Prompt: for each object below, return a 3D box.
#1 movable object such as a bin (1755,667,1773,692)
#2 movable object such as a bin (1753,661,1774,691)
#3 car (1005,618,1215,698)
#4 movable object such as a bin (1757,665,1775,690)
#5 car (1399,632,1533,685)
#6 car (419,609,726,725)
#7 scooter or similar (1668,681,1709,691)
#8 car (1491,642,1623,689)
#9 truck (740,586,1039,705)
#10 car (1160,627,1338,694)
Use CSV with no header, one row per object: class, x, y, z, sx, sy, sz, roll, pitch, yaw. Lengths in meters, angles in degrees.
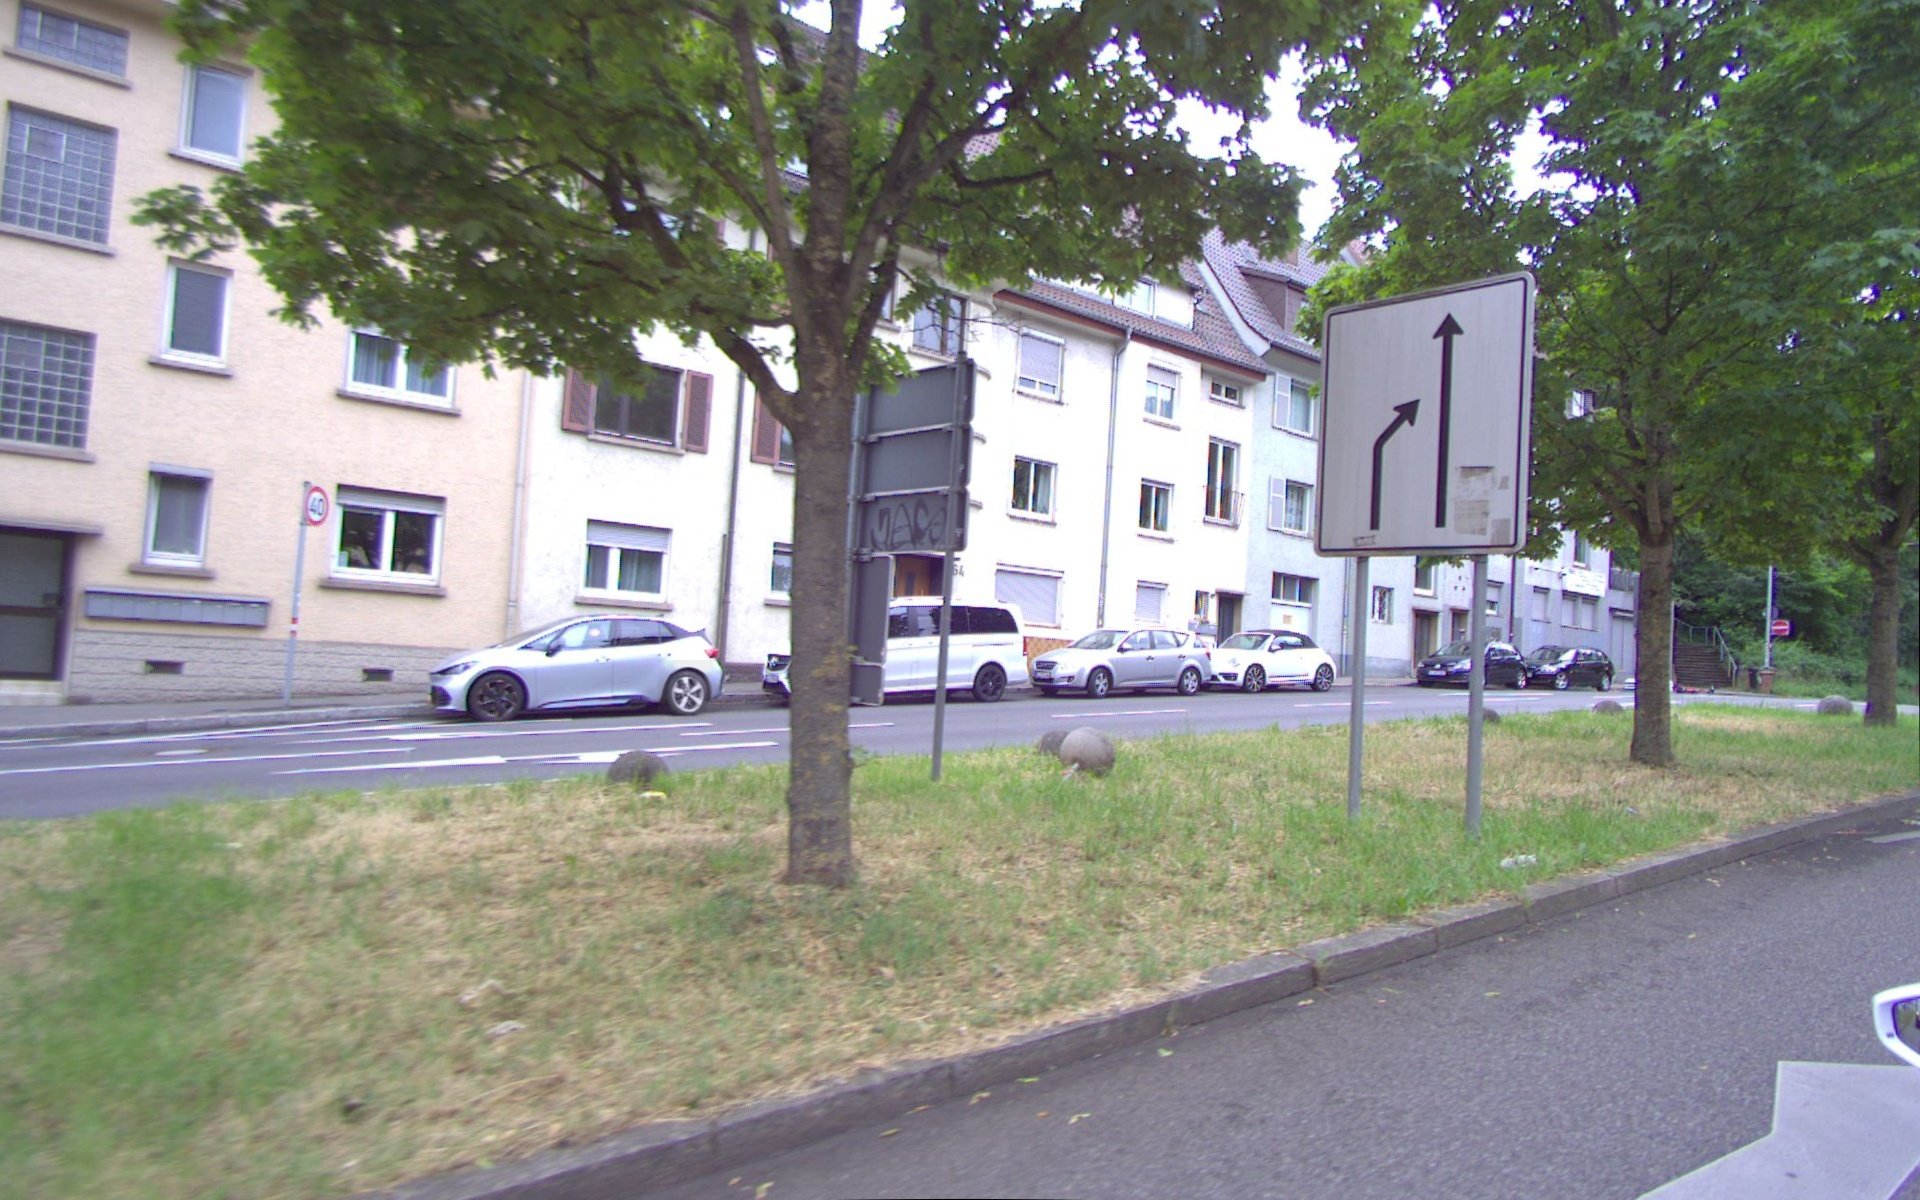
movable object such as a bin,33.419,3.293,41.766,0.510,0.980,0.442,5,0,42
movable object such as a bin,33.781,3.193,42.221,0.598,1.201,0.490,5,0,42
car,3.303,1.226,21.811,4.338,1.573,1.981,2,-2,-35
movable object such as a bin,34.885,3.362,43.474,0.549,1.038,0.428,5,0,42
car,15.218,1.764,30.145,4.174,1.441,1.979,3,-2,-37
car,-5.967,0.980,15.616,4.116,1.573,1.981,2,-2,-35
scooter or similar,26.628,3.135,36.699,1.111,0.292,1.094,-1,-5,42
car,19.589,2.141,32.896,4.470,1.419,1.982,3,-2,-33
truck,-1.216,0.833,18.746,5.293,1.945,1.981,2,-2,-35
car,7.100,1.452,24.585,4.114,1.494,1.982,2,-2,-33
